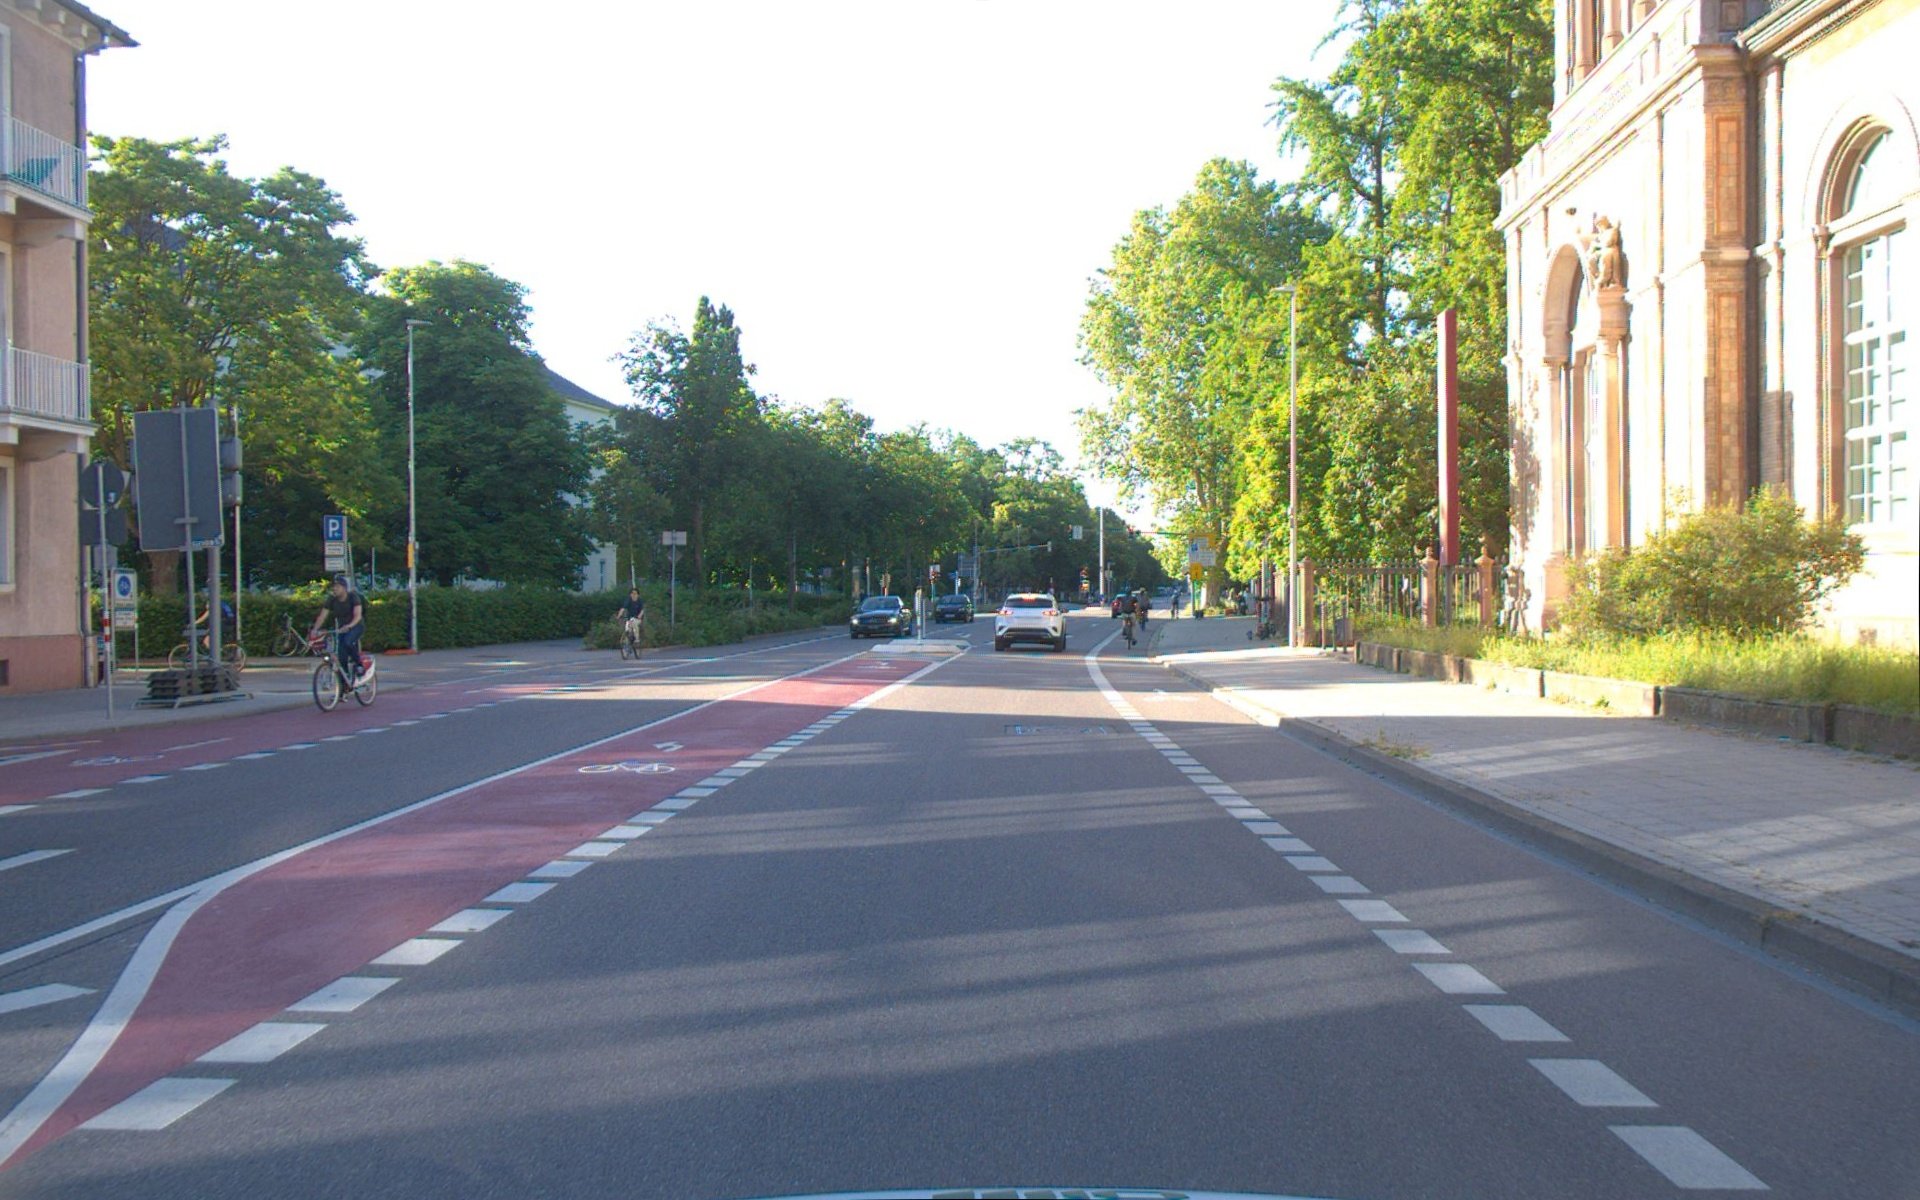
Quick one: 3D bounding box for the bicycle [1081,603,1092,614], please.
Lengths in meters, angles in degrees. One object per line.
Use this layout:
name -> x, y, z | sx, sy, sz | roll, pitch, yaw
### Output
bicycle -> 13.929, 0.967, 182.169 | 0.943, 1.201, 2.953 | -1, 0, 10

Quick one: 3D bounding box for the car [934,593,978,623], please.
car -> -0.190, 0.377, 85.317 | 1.721, 1.484, 4.003 | -1, 0, 8

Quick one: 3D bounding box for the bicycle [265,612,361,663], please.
bicycle -> -16.562, 0.955, 42.331 | 2.270, 1.251, 0.560 | -1, 0, 7

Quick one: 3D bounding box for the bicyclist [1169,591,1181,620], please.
bicyclist -> 13.546, 0.349, 104.266 | 0.733, 1.780, 0.844 | 0, 0, 8

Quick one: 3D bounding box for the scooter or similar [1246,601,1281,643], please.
scooter or similar -> 9.314, 0.671, 50.727 | 0.537, 1.264, 1.554 | -1, 0, -9

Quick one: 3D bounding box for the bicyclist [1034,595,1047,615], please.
bicyclist -> 7.334, 0.484, 150.478 | 1.069, 1.785, 1.098 | -1, 0, 10

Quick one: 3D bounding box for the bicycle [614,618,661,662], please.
bicycle -> -7.919, 0.965, 40.693 | 0.638, 1.013, 2.110 | -2, 0, 2

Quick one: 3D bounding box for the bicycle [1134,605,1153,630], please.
bicycle -> 7.625, 0.732, 68.637 | 0.737, 1.044, 1.871 | 0, -1, 8

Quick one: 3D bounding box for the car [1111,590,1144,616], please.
car -> 10.459, 0.171, 103.089 | 1.888, 1.560, 4.003 | -1, 0, 8

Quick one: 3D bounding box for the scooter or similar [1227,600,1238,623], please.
scooter or similar -> 16.991, 0.693, 103.031 | 0.554, 1.407, 1.857 | -1, 0, 7

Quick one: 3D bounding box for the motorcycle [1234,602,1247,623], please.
motorcycle -> 16.319, 0.732, 96.276 | 0.648, 1.188, 2.329 | -3, 0, 8

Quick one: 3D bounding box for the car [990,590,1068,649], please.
car -> 1.907, 0.498, 44.599 | 1.951, 1.478, 4.002 | -1, 0, 4

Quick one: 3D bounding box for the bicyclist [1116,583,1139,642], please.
bicyclist -> 4.746, 0.339, 46.933 | 0.622, 1.642, 1.285 | 0, 0, 6

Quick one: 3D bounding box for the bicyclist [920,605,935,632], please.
bicyclist -> -1.818, 1.043, 92.320 | 0.632, 1.443, 0.971 | -3, 0, 5

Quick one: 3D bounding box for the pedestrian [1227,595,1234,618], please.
pedestrian -> 22.020, 0.511, 134.638 | 0.472, 1.823, 0.432 | -3, 2, 15

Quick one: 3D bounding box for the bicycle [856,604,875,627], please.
bicycle -> -4.789, 0.772, 83.572 | 0.584, 1.140, 2.028 | -4, 0, 5

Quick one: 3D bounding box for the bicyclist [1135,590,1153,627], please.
bicyclist -> 7.639, 0.351, 68.758 | 0.731, 1.564, 0.970 | 0, 0, 8

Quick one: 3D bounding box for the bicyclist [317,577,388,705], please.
bicyclist -> -8.595, 0.571, 23.416 | 0.622, 1.740, 0.739 | -3, 0, 2

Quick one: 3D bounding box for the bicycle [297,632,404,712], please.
bicycle -> -8.560, 0.989, 23.315 | 0.633, 1.013, 2.110 | -2, 0, 2

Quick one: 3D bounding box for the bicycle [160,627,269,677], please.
bicycle -> -16.702, 1.161, 37.072 | 2.063, 1.013, 0.738 | -2, 0, -8

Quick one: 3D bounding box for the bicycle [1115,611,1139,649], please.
bicycle -> 4.757, 0.842, 46.976 | 0.629, 1.042, 2.214 | 1, 0, 7

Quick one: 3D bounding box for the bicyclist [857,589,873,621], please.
bicyclist -> -4.819, 0.244, 83.656 | 0.616, 1.549, 0.725 | -3, 0, 5

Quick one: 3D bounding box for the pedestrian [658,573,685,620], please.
pedestrian -> -11.817, -0.141, 67.757 | 0.837, 1.884, 1.002 | -1, 0, 6

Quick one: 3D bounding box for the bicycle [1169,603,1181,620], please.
bicycle -> 13.528, 0.713, 104.184 | 0.737, 1.044, 1.871 | 0, -1, 8

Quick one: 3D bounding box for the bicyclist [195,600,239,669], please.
bicyclist -> -16.650, 0.761, 37.082 | 0.650, 1.511, 0.738 | -2, 0, -8

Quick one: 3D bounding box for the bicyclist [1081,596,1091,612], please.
bicyclist -> 13.913, 0.414, 182.125 | 0.935, 1.735, 1.233 | -1, 0, 10

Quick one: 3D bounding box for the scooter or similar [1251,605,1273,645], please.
scooter or similar -> 8.910, 0.727, 48.854 | 0.470, 1.142, 1.337 | -1, 0, 4

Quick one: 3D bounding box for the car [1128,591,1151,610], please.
car -> 14.866, 0.038, 136.676 | 1.700, 1.573, 4.003 | -1, 0, 8

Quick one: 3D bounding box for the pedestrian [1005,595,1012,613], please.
pedestrian -> 5.152, 0.393, 176.389 | 0.637, 1.921, 0.663 | -1, 0, 10

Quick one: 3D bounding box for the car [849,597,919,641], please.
car -> -2.633, 0.637, 58.368 | 1.773, 1.444, 4.558 | -1, 0, 6

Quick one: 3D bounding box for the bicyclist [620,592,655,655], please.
bicyclist -> -7.940, 0.575, 40.731 | 0.642, 1.511, 0.665 | -3, 0, 2

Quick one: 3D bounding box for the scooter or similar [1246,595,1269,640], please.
scooter or similar -> 8.591, 0.499, 47.775 | 0.291, 1.261, 1.159 | -1, 0, -8
